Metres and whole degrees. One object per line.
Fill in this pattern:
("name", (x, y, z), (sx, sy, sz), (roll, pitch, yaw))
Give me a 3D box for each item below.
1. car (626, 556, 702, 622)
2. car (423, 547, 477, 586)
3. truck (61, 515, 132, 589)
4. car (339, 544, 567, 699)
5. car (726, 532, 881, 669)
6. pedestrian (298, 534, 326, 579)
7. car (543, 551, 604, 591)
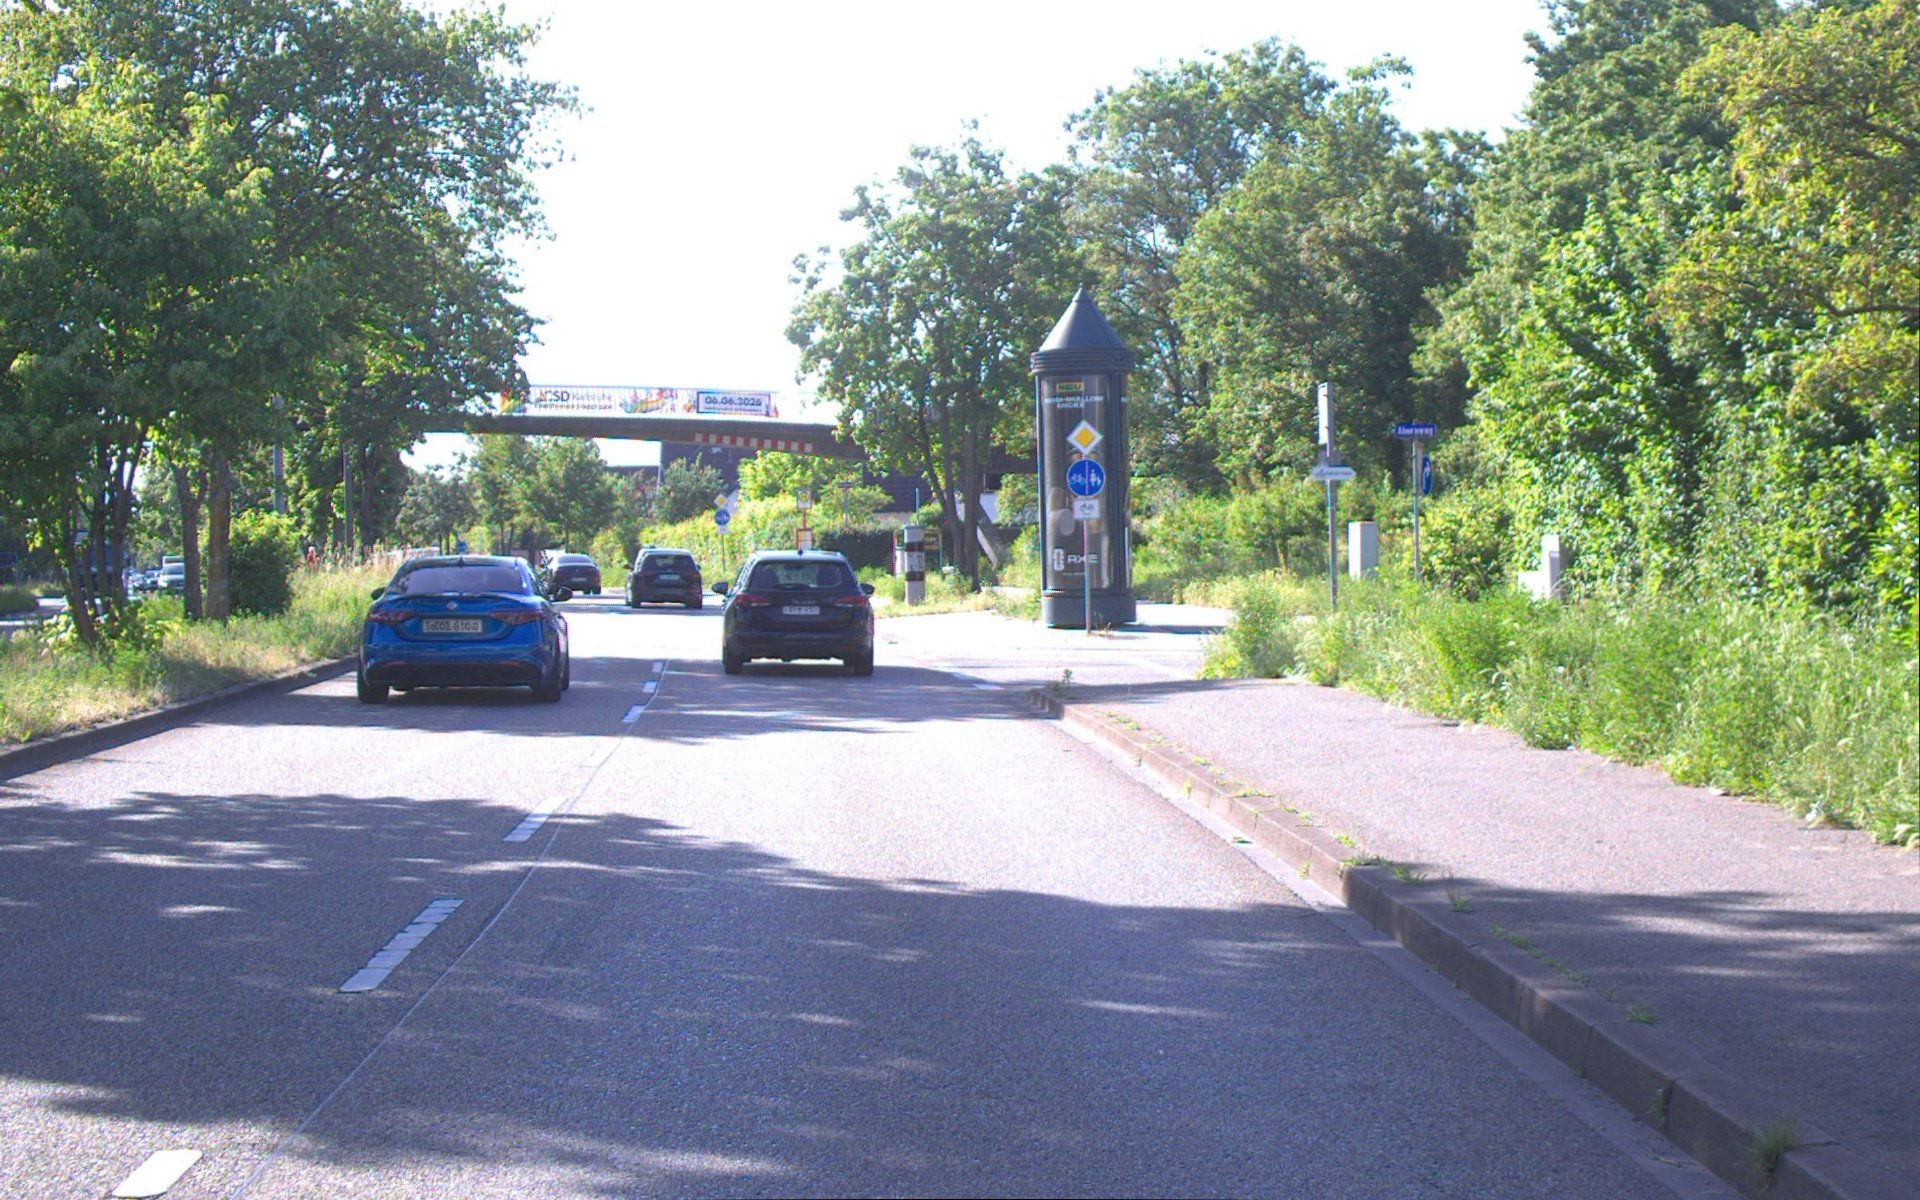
("car", (-7.615, -0.301, 88.156), (1.743, 1.592, 4.176), (0, 1, -8))
("car", (-18.743, -1.238, 126.200), (1.898, 1.351, 4.001), (-1, 1, -9))
("truck", (-31.070, -1.717, 123.574), (2.172, 2.504, 5.744), (-3, 1, -16))
("car", (-4.912, 0.171, 33.779), (1.994, 1.400, 4.001), (0, 1, -5))
("car", (-1.907, 0.016, 41.717), (1.760, 1.554, 4.000), (1, 0, -3))
("pedestrian", (-24.152, -1.630, 128.167), (0.631, 1.691, 0.942), (0, 1, 17))
("car", (-13.664, -1.039, 121.443), (1.898, 1.351, 4.001), (-1, 1, -9))
